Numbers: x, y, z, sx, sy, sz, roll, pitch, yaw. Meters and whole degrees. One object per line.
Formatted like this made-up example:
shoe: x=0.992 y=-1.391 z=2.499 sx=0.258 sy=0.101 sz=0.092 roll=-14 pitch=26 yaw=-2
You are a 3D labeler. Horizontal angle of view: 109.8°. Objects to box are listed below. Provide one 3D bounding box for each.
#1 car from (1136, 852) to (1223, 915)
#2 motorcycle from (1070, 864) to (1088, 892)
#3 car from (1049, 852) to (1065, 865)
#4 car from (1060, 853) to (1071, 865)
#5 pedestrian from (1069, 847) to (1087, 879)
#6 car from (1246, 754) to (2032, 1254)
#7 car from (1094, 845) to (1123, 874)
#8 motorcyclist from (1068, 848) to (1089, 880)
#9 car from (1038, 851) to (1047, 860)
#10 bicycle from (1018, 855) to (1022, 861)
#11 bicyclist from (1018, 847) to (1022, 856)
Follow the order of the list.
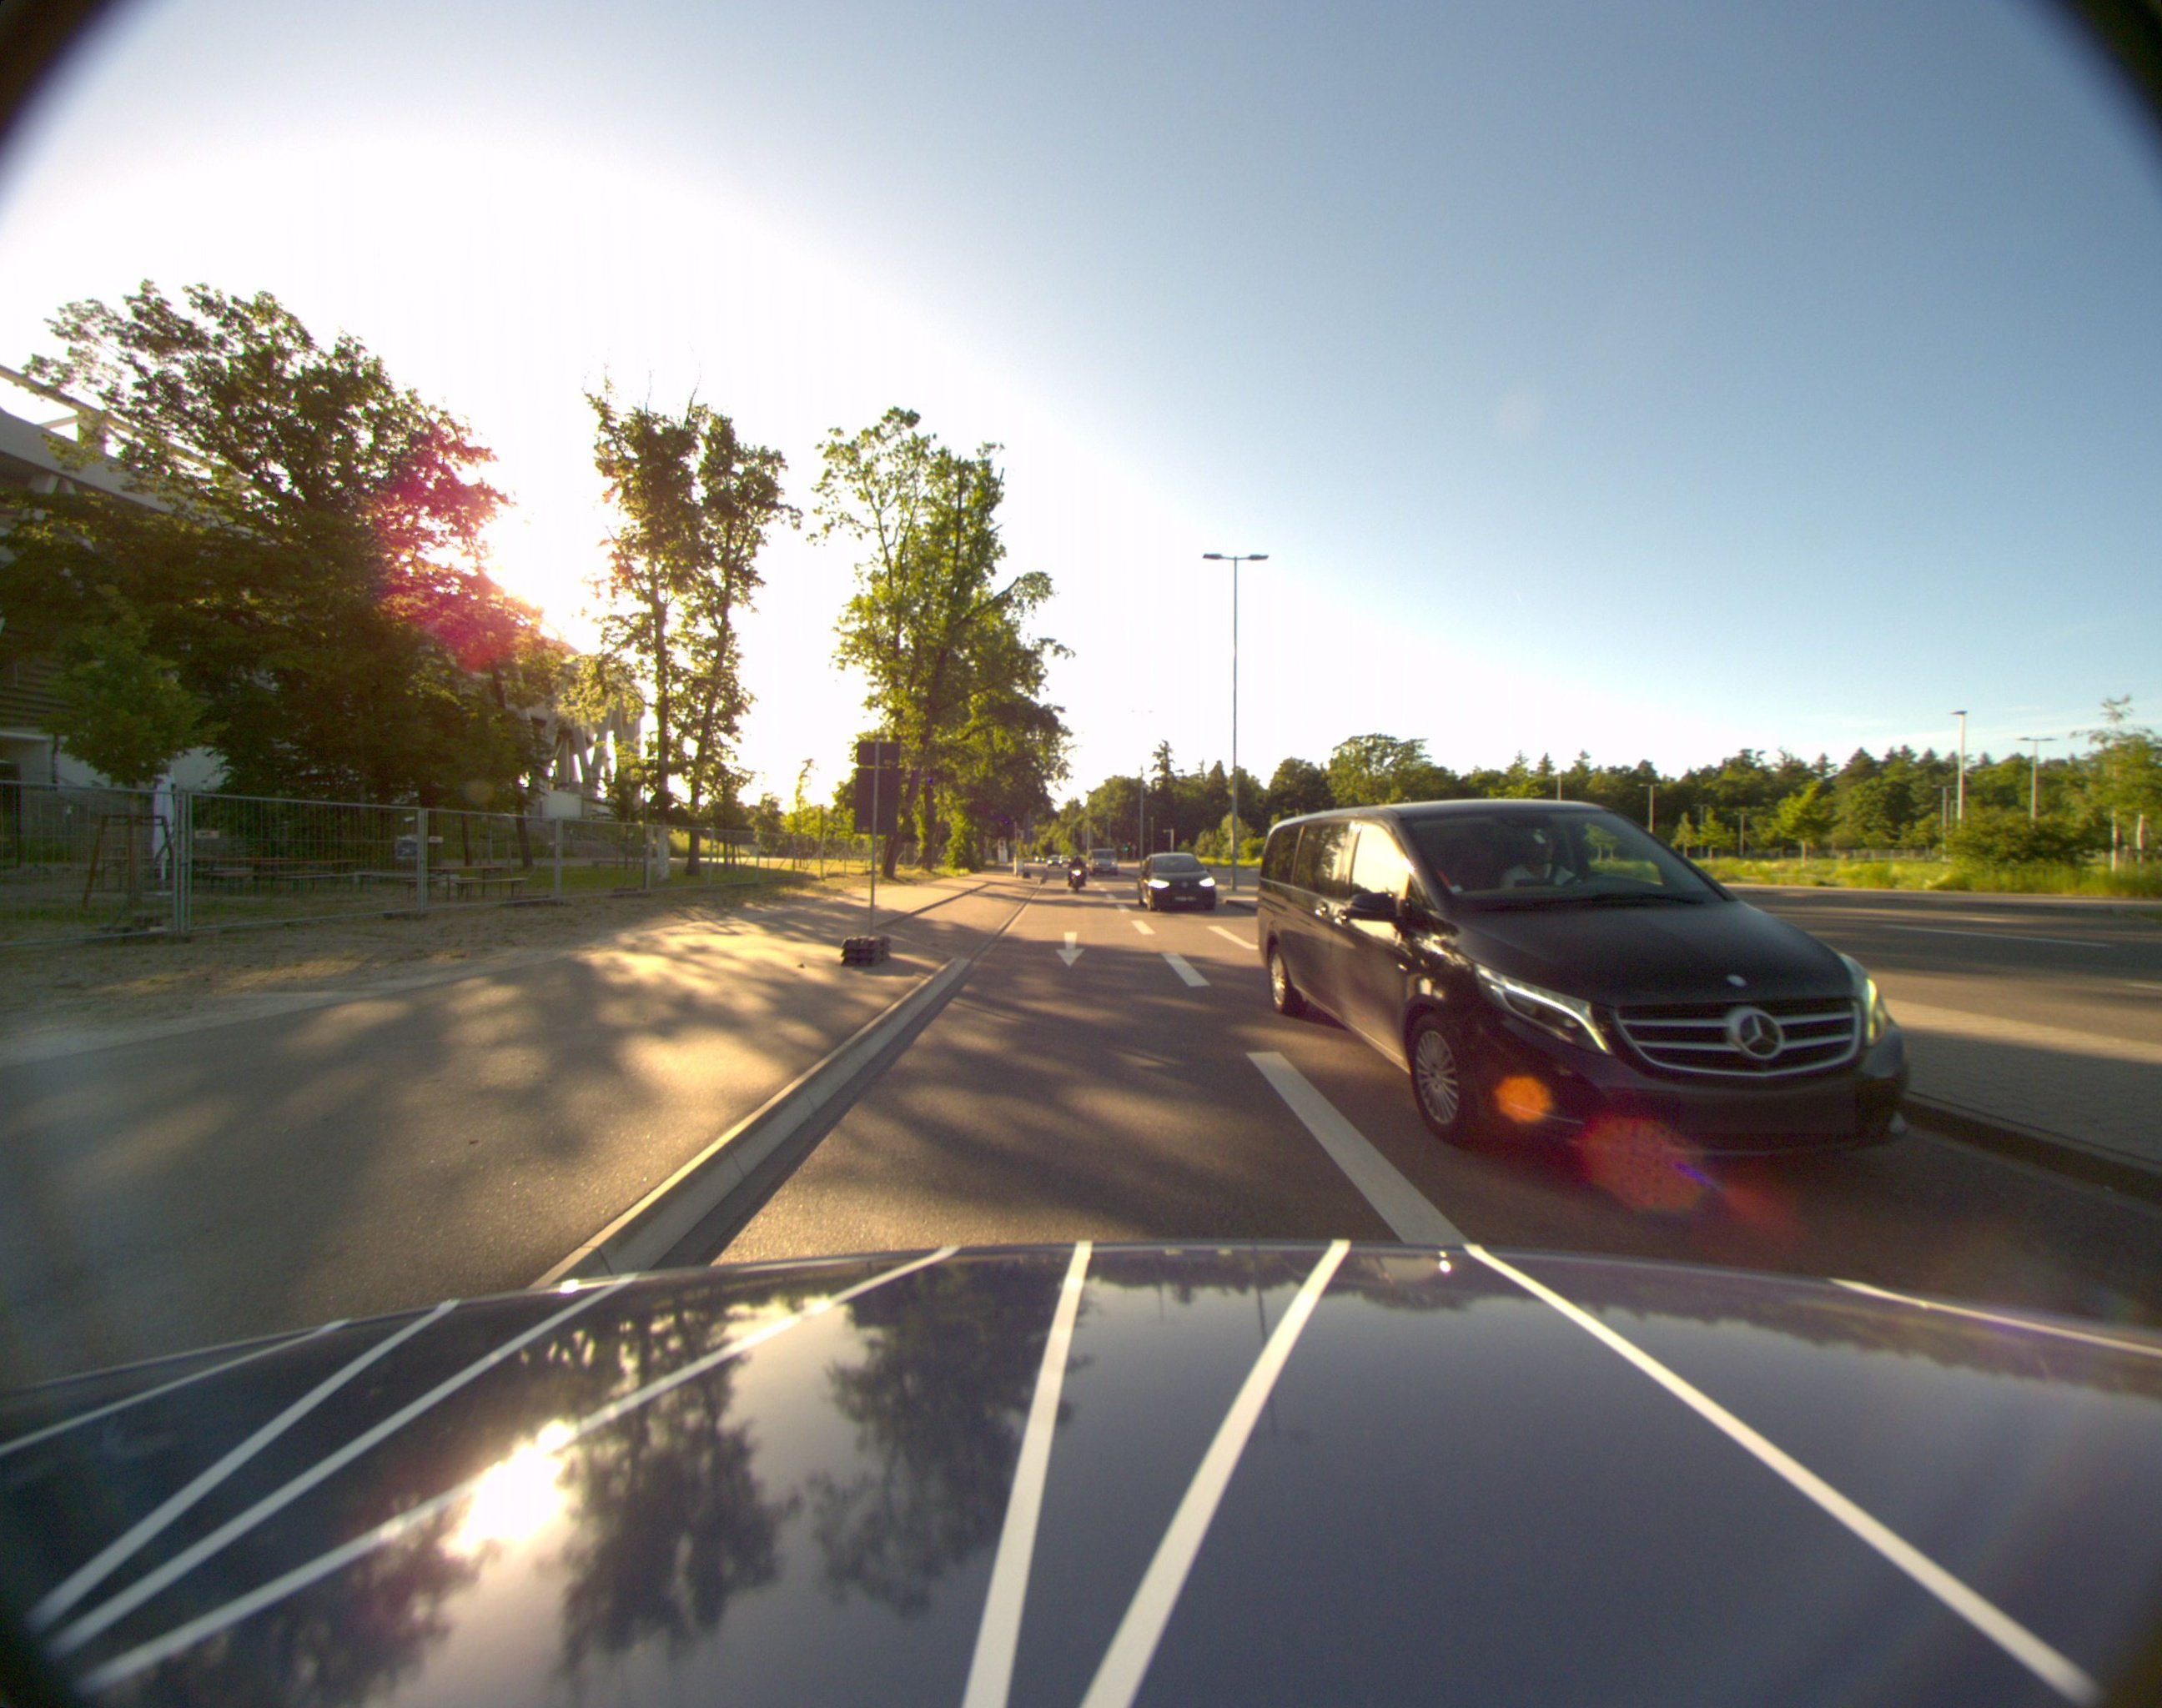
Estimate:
car: x=2.698 y=0.767 z=21.679 sx=1.883 sy=1.528 sz=3.999 roll=-2 pitch=1 yaw=0
motorcycle: x=-0.081 y=1.019 z=32.971 sx=0.717 sy=1.058 sz=2.721 roll=-2 pitch=0 yaw=1
car: x=-3.195 y=0.616 z=102.207 sx=1.883 sy=1.629 sz=5.048 roll=-2 pitch=0 yaw=0
car: x=-2.555 y=0.807 z=129.268 sx=1.675 sy=1.827 sz=3.982 roll=-2 pitch=1 yaw=1
pedestrian: x=-0.126 y=0.403 z=33.552 sx=0.739 sy=1.387 sz=0.500 roll=-2 pitch=1 yaw=1
car: x=2.668 y=0.594 z=5.345 sx=1.912 sy=1.845 sz=4.873 roll=-2 pitch=0 yaw=0
car: x=1.966 y=0.406 z=55.373 sx=1.883 sy=1.951 sz=5.048 roll=-2 pitch=0 yaw=0
motorcyclist: x=-0.106 y=0.420 z=33.064 sx=0.822 sy=1.367 sz=0.476 roll=-2 pitch=1 yaw=1
car: x=-9.233 y=0.319 z=181.464 sx=1.774 sy=1.849 sz=3.999 roll=-2 pitch=1 yaw=1
bicycle: x=-8.928 y=0.517 z=111.248 sx=0.481 sy=0.854 sz=1.910 roll=0 pitch=0 yaw=1
bicyclist: x=-8.926 y=-0.380 z=111.243 sx=0.451 sy=1.412 sz=0.575 roll=0 pitch=1 yaw=0
